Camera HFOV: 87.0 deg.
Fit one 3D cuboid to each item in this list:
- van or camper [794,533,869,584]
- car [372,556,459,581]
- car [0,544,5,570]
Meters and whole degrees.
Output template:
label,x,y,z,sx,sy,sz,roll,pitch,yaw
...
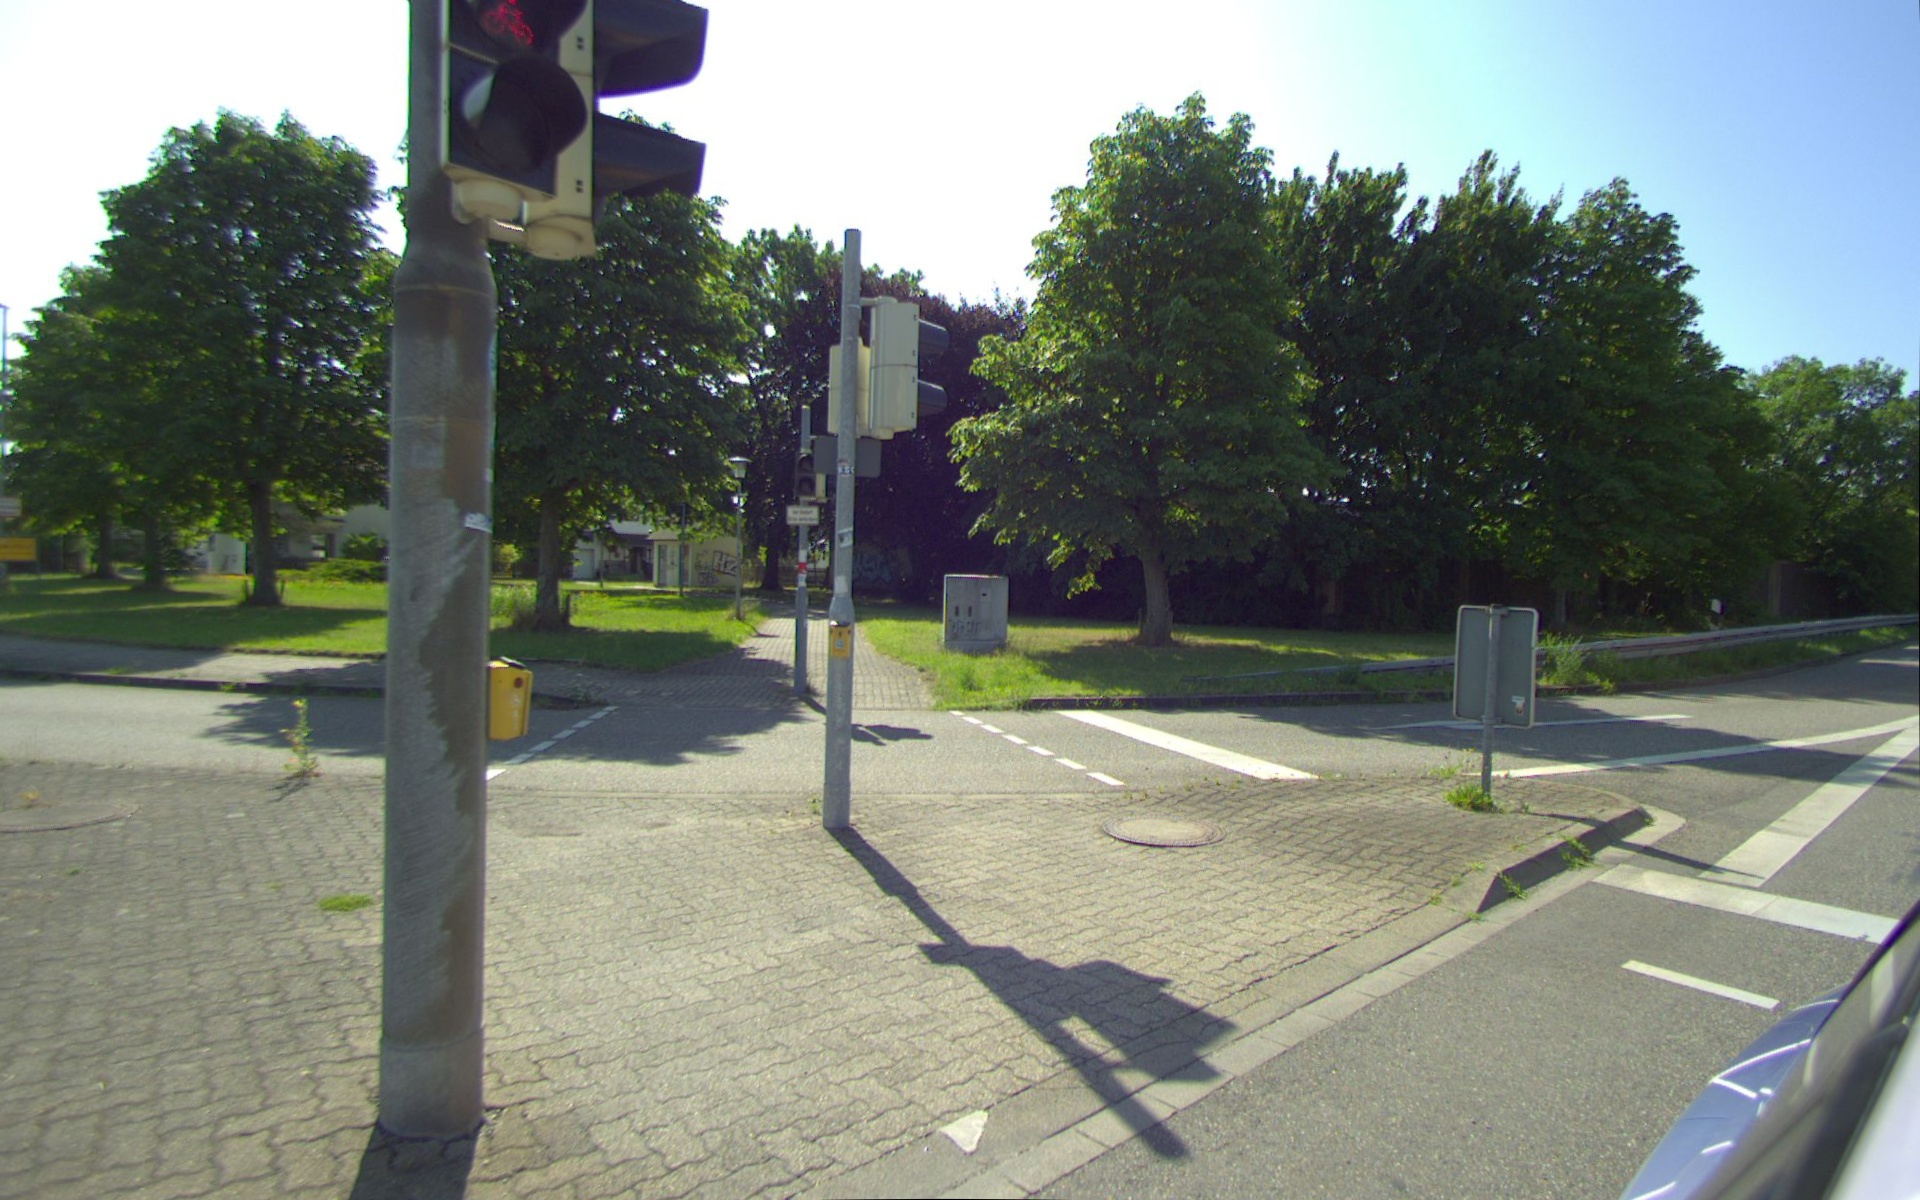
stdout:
label,x,y,z,sx,sy,sz,roll,pitch,yaw
van or camper,-7.585,-2.450,59.488,1.966,2.866,4.807,0,2,-42
car,-29.445,-1.699,54.759,3.929,1.304,1.731,0,2,-40
car,-74.921,-3.298,77.608,1.963,1.950,3.999,-1,1,-36
